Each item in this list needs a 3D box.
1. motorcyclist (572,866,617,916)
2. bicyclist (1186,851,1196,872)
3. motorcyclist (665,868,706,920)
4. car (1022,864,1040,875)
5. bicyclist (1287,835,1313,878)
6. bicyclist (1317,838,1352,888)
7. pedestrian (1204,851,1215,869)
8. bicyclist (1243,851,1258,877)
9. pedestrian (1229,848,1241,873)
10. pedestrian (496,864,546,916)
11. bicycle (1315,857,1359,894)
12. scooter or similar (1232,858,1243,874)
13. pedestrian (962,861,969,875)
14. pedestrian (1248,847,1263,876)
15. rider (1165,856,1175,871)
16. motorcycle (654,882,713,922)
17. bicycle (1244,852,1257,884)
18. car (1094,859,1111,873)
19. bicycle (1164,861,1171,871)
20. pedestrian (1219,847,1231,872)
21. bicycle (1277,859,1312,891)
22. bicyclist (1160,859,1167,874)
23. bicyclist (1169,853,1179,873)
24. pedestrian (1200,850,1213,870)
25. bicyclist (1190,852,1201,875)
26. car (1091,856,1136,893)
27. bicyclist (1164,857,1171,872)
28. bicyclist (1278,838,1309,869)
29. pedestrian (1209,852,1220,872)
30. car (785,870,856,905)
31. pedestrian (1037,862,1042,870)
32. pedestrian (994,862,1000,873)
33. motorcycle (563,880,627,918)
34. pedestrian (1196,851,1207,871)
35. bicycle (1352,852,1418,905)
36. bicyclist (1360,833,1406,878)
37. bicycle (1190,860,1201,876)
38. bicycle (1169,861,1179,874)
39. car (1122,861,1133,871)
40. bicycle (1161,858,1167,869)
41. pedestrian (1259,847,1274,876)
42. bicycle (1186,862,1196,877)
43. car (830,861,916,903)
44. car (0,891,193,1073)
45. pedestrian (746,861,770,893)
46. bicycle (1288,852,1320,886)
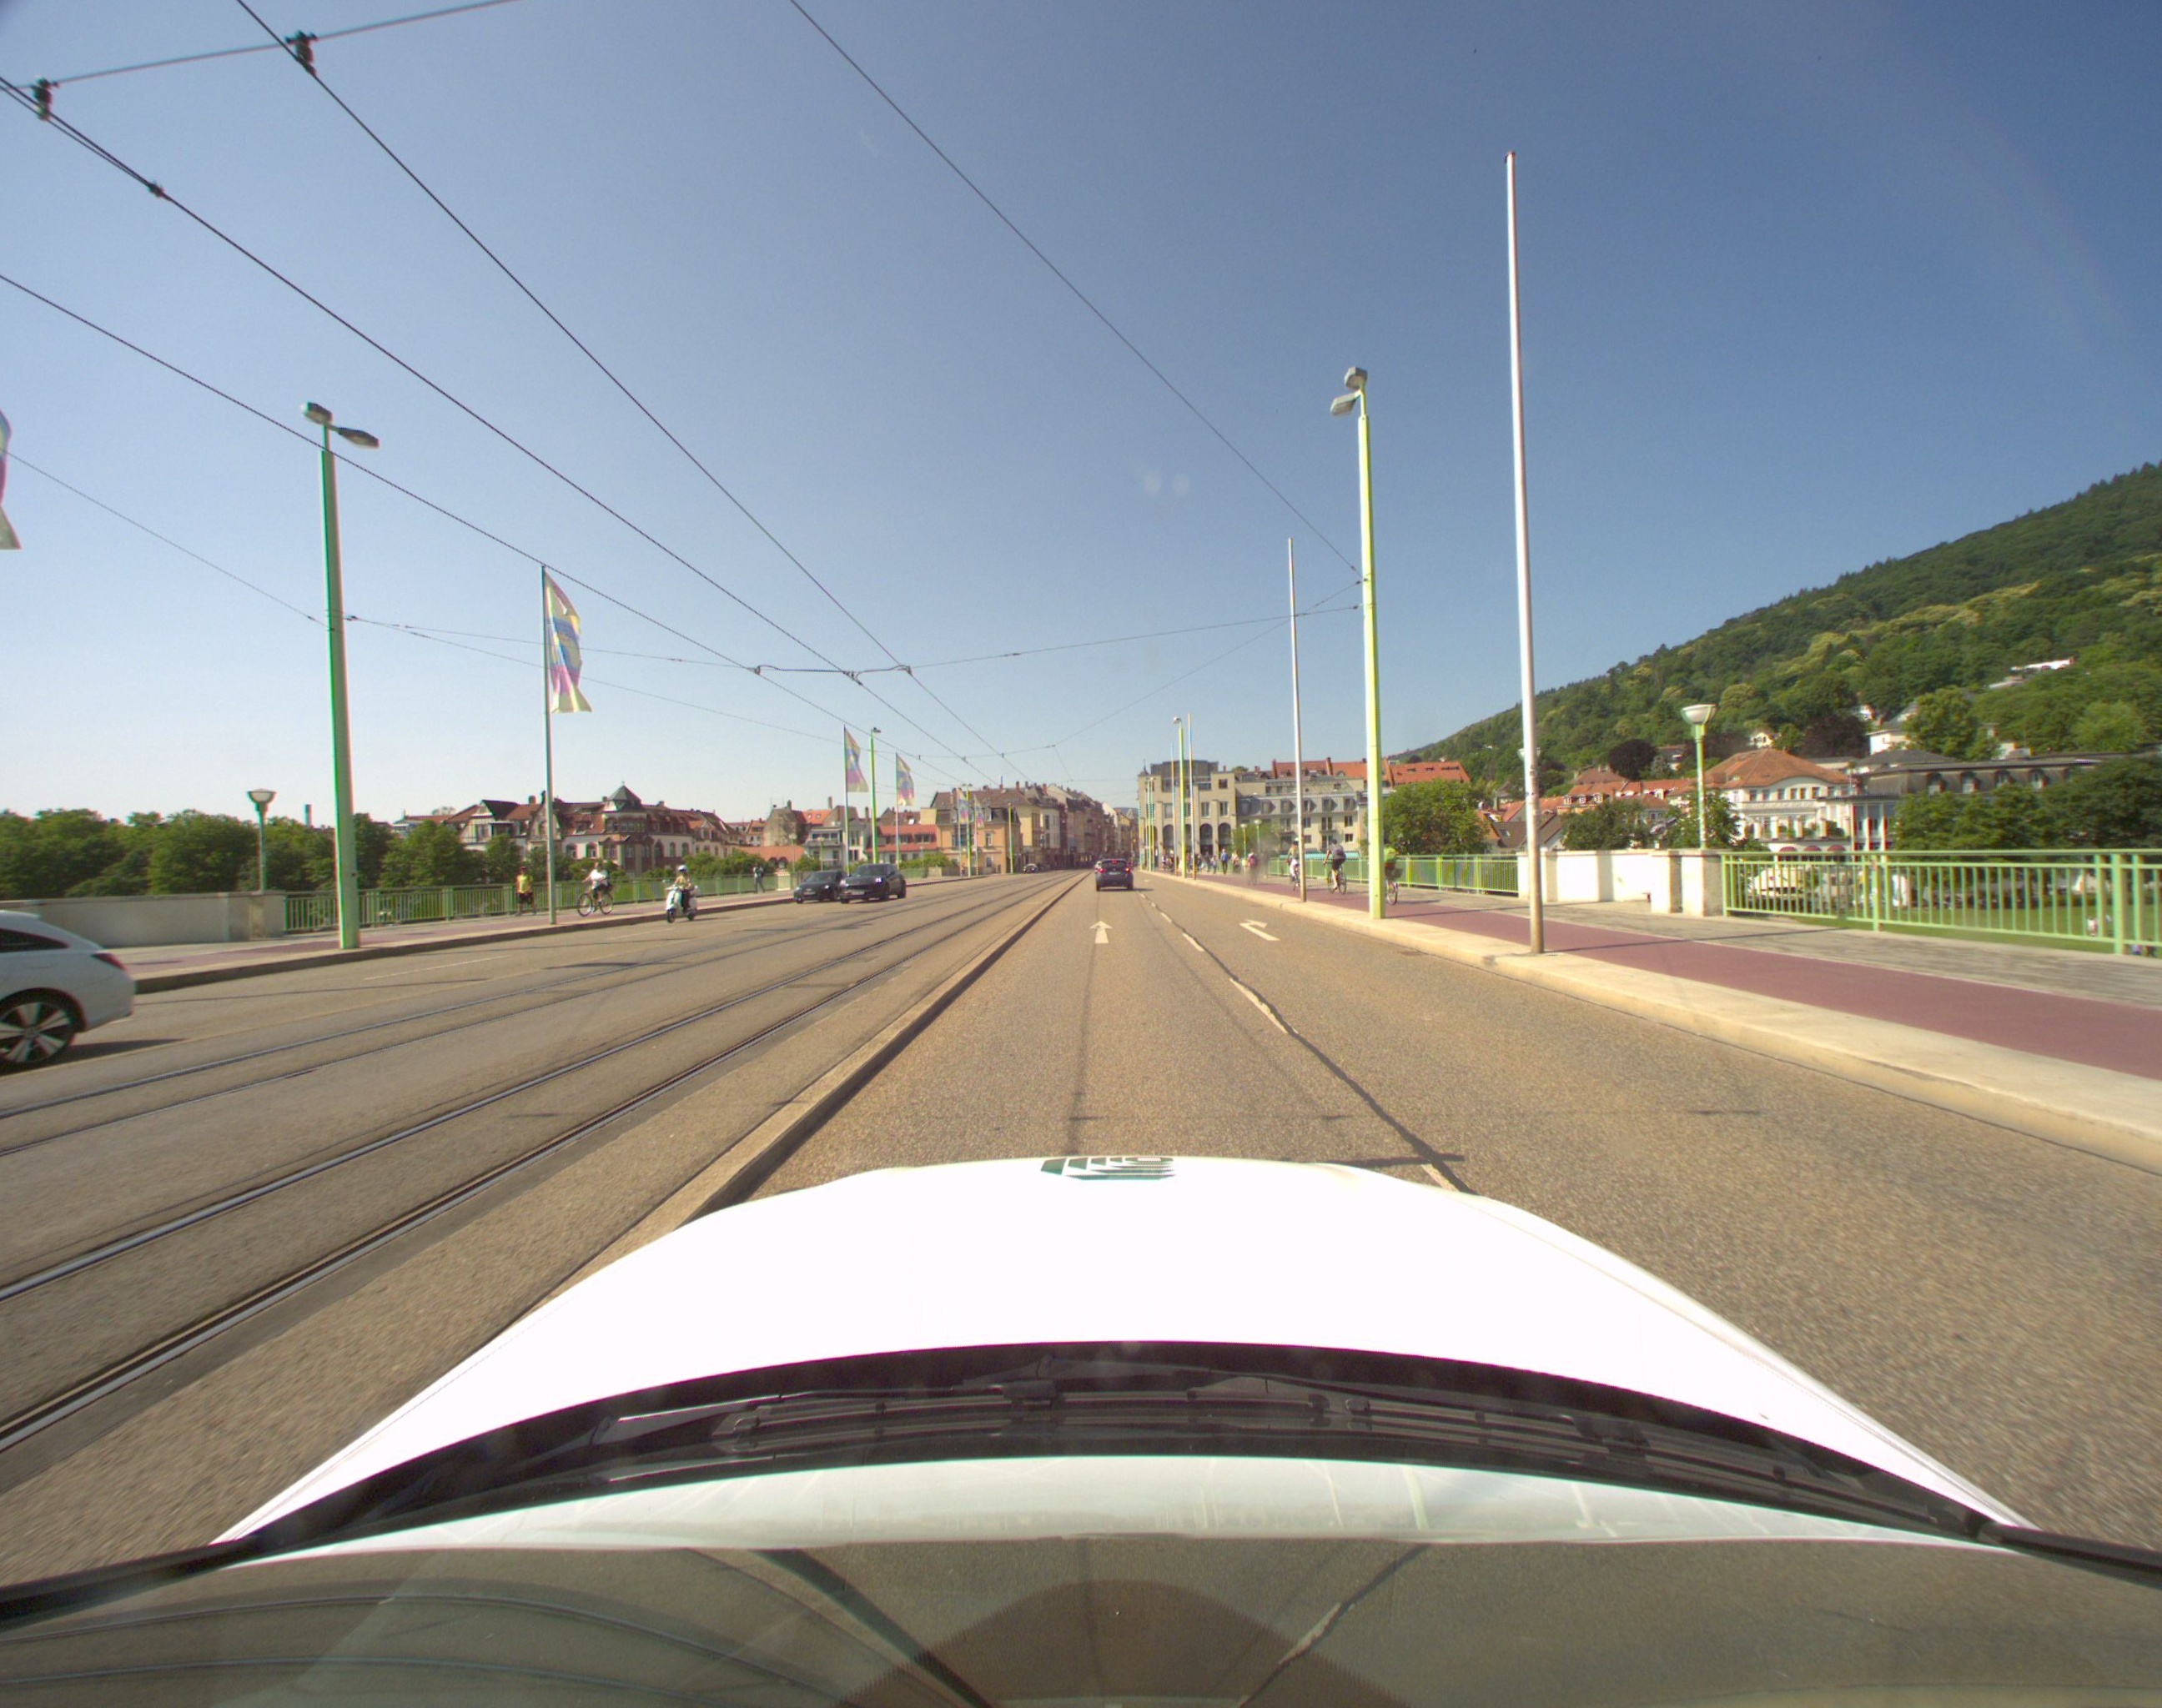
[{"bbox_3d":[-15.917,1.188,26.664,0.797,1.549,1.069,-2,0,1],"label":"motorcyclist"},{"bbox_3d":[8.854,0.611,65.655,0.625,1.689,0.869,-2,0,0],"label":"bicyclist"},{"bbox_3d":[-12.402,1.245,25.566,0.825,1.574,0.832,-2,0,1],"label":"motorcyclist"},{"bbox_3d":[-7.615,2.302,124.064,1.983,1.479,4.007,-2,0,6],"label":"car"},{"bbox_3d":[8.613,0.099,32.034,0.733,1.635,0.866,-2,0,-1],"label":"bicyclist"},{"bbox_3d":[7.790,0.278,25.023,0.733,1.500,0.980,-2,0,-1],"label":"bicyclist"},{"bbox_3d":[12.083,0.539,76.504,0.831,1.689,0.869,-2,0,1],"label":"pedestrian"},{"bbox_3d":[7.420,0.427,35.625,0.595,1.101,0.855,-2,0,11],"label":"bicyclist"},{"bbox_3d":[10.941,0.465,57.759,0.640,1.756,0.866,-2,0,-1],"label":"pedestrian"},{"bbox_3d":[-18.566,1.173,27.016,0.895,1.658,1.029,-1,0,3],"label":"pedestrian"},{"bbox_3d":[7.864,0.640,25.120,0.616,1.037,2.266,-2,0,0],"label":"bicycle"},{"bbox_3d":[10.955,0.818,56.885,0.586,1.069,0.865,-2,0,-1],"label":"scooter or similar"},{"bbox_3d":[-14.902,1.812,104.879,0.759,1.786,0.664,-2,0,3],"label":"pedestrian"},{"bbox_3d":[9.744,0.424,45.470,0.597,1.586,0.866,-2,0,-1],"label":"pedestrian"},{"bbox_3d":[9.060,0.954,82.590,0.886,1.504,0.841,-2,0,0],"label":"rider"},{"bbox_3d":[-12.380,1.479,25.442,0.698,1.110,2.179,-2,0,1],"label":"motorcycle"},{"bbox_3d":[7.401,0.596,35.589,0.531,1.367,2.223,-2,0,11],"label":"bicycle"},{"bbox_3d":[2.481,1.407,95.703,1.799,1.469,3.998,-3,0,-1],"label":"car"},{"bbox_3d":[9.263,1.301,87.377,0.663,1.049,2.031,-2,0,5],"label":"bicycle"},{"bbox_3d":[10.551,0.407,59.838,0.710,1.810,0.848,-2,0,1],"label":"pedestrian"},{"bbox_3d":[7.342,0.709,28.099,0.616,1.037,2.051,-2,0,0],"label":"bicycle"},{"bbox_3d":[9.243,1.384,91.077,0.792,1.676,0.870,0,-1,4],"label":"bicyclist"},{"bbox_3d":[7.399,0.697,64.919,0.650,1.567,1.338,-3,-1,3],"label":"bicyclist"},{"bbox_3d":[10.928,0.522,70.975,0.926,1.761,0.938,-2,0,1],"label":"pedestrian"},{"bbox_3d":[8.574,0.714,60.979,0.654,1.676,0.869,-2,0,0],"label":"bicyclist"},{"bbox_3d":[1.502,0.929,38.830,1.904,1.540,3.999,-2,1,-1],"label":"car"},{"bbox_3d":[9.252,1.106,87.232,0.648,1.529,0.976,-2,0,4],"label":"bicyclist"},{"bbox_3d":[7.317,-0.019,28.071,0.733,1.030,1.175,-2,0,0],"label":"bicyclist"},{"bbox_3d":[9.997,0.566,60.931,0.611,1.465,0.848,-2,0,1],"label":"pedestrian"},{"bbox_3d":[-11.827,1.506,37.313,1.752,1.362,4.384,-2,0,1],"label":"car"},{"bbox_3d":[-7.456,2.161,145.306,0.759,1.398,0.664,-2,0,3],"label":"pedestrian"},{"bbox_3d":[-12.536,1.966,121.149,0.759,1.665,0.664,-2,0,3],"label":"pedestrian"},{"bbox_3d":[-15.865,1.442,26.654,0.698,1.110,2.179,-2,0,1],"label":"motorcycle"},{"bbox_3d":[10.712,0.634,72.625,0.831,1.689,0.869,-2,0,1],"label":"pedestrian"},{"bbox_3d":[7.349,0.569,19.789,0.693,1.193,2.077,-2,-1,-2],"label":"bicycle"},{"bbox_3d":[7.321,0.040,19.775,0.665,1.045,0.979,-3,0,-3],"label":"bicyclist"},{"bbox_3d":[8.596,1.042,61.162,0.591,1.178,1.939,-2,0,0],"label":"bicycle"},{"bbox_3d":[7.413,1.077,64.849,0.650,0.981,2.180,-3,-1,3],"label":"bicycle"},{"bbox_3d":[8.221,2.069,142.289,1.796,1.469,4.004,-3,0,4],"label":"car"},{"bbox_3d":[9.271,1.101,91.107,0.663,1.178,2.031,-2,0,5],"label":"bicycle"},{"bbox_3d":[10.352,0.400,45.485,0.597,1.586,0.866,-2,0,-1],"label":"pedestrian"},{"bbox_3d":[8.884,1.267,65.711,0.524,1.178,2.028,-2,0,0],"label":"bicycle"},{"bbox_3d":[-8.733,1.137,34.616,1.982,1.599,4.348,-2,0,8],"label":"car"},{"bbox_3d":[-9.829,1.141,5.739,1.986,1.409,4.549,-4,0,2],"label":"car"},{"bbox_3d":[-18.064,1.283,45.523,0.827,1.722,1.094,-2,0,2],"label":"pedestrian"},{"bbox_3d":[8.735,0.565,31.949,0.616,1.271,2.215,-2,0,0],"label":"bicycle"}]
